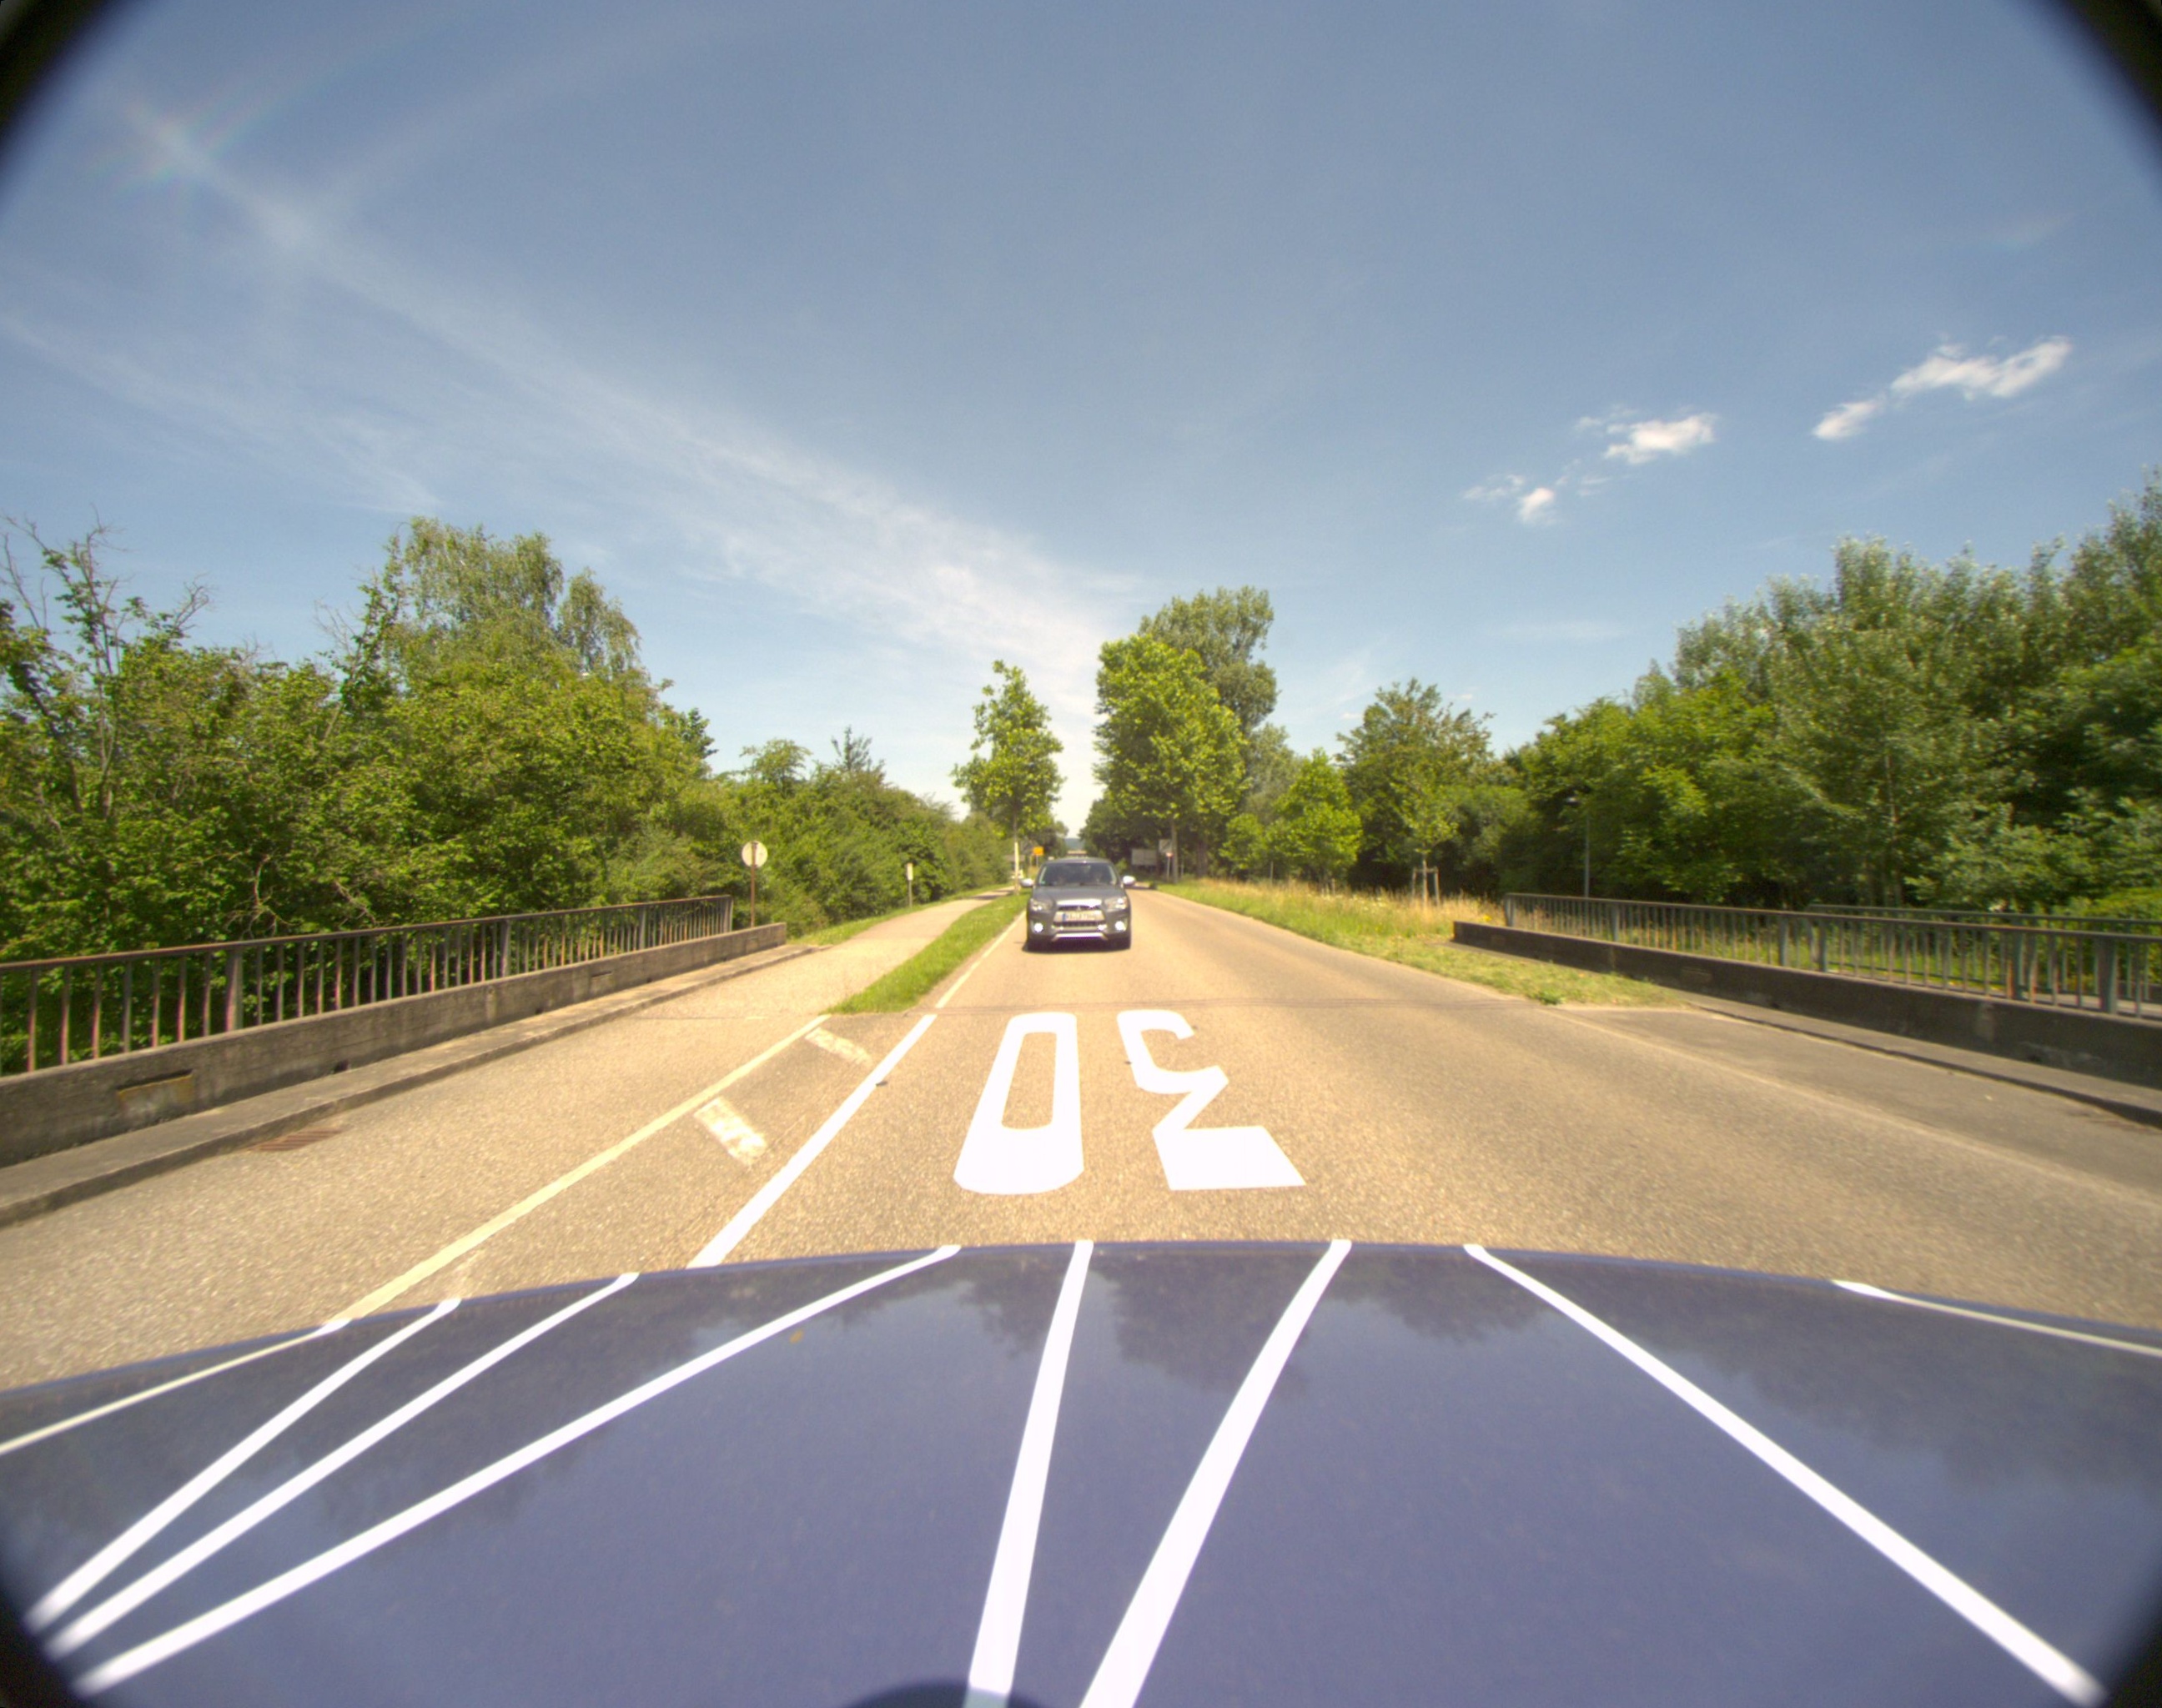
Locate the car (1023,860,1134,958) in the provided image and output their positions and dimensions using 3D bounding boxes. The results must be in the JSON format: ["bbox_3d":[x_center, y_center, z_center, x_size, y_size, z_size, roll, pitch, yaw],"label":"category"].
[{"bbox_3d":[-0.067,0.897,14.406,1.750,1.525,4.524,-1,0,-1],"label":"car"}]
